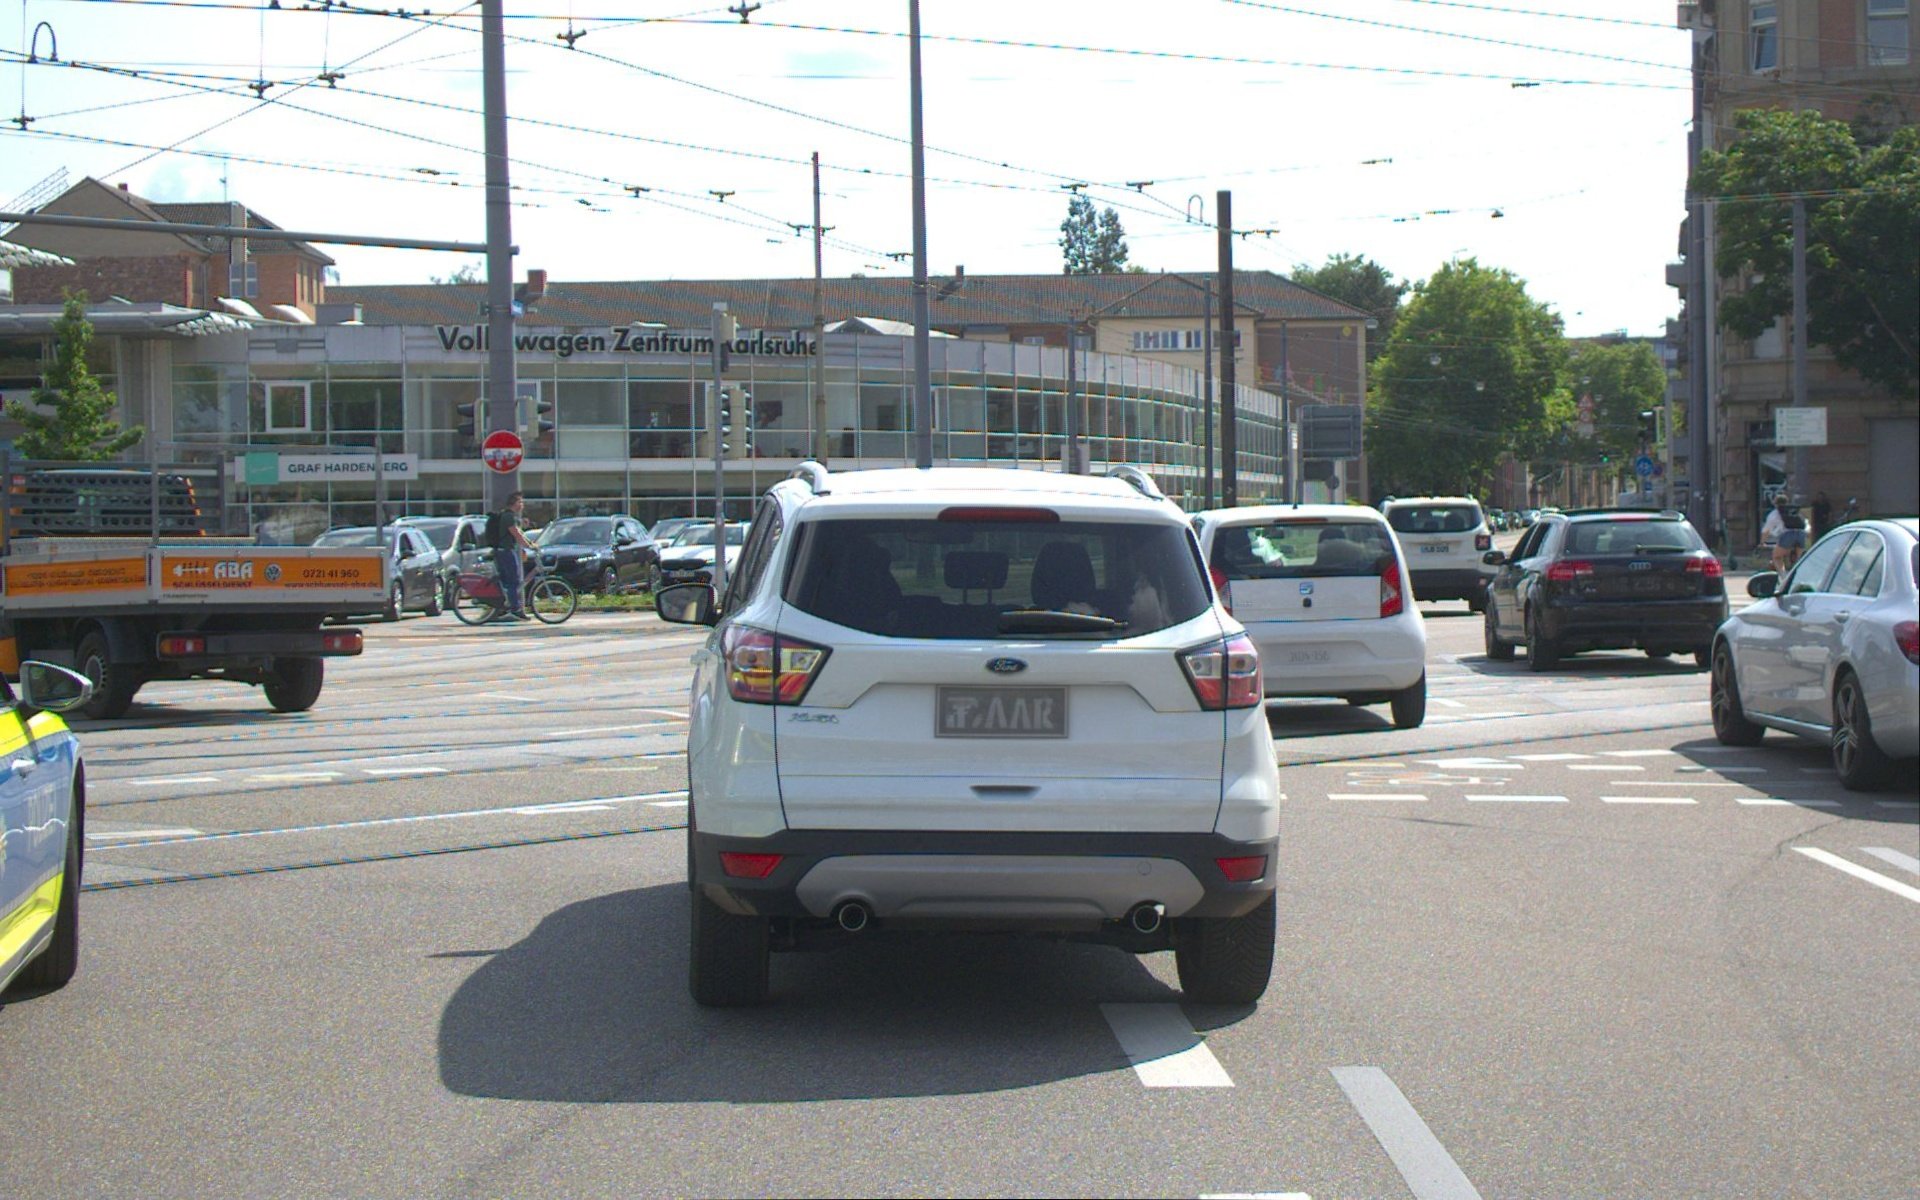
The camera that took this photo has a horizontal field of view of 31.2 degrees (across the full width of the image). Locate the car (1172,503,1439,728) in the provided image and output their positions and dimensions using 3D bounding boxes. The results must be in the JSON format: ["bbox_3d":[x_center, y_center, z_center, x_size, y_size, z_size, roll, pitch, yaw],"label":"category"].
[{"bbox_3d":[2.346,0.044,24.126,1.649,1.417,4.000,-1,2,3],"label":"car"}]

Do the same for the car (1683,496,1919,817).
[{"bbox_3d":[5.590,0.205,19.446,1.930,1.450,4.760,-1,3,-1],"label":"car"}]

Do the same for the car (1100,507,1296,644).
[{"bbox_3d":[2.551,-0.286,37.606,1.850,1.414,3.679,0,1,-1],"label":"car"}]

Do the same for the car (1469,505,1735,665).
[{"bbox_3d":[5.848,-0.179,31.748,1.699,1.367,4.133,-1,1,0],"label":"car"}]

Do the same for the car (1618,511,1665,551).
[{"bbox_3d":[28.964,-2.914,145.973,1.837,1.646,3.998,0,1,13],"label":"car"}]

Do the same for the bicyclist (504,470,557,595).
[{"bbox_3d":[-5.993,-0.945,48.029,0.660,1.732,0.640,0,2,0],"label":"bicyclist"}]

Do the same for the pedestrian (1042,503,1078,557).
[{"bbox_3d":[3.275,-2.284,112.507,0.876,1.731,0.875,1,1,29],"label":"pedestrian"}]

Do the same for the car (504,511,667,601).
[{"bbox_3d":[-6.483,-0.793,59.912,1.690,1.456,3.967,-2,1,11],"label":"car"}]

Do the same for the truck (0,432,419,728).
[{"bbox_3d":[-6.892,-0.192,27.903,2.339,2.148,5.850,-2,1,-38],"label":"truck"}]

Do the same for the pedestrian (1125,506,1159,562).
[{"bbox_3d":[6.284,-2.284,118.815,0.876,1.915,0.875,1,0,26],"label":"pedestrian"}]

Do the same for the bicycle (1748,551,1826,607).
[{"bbox_3d":[11.824,-0.306,49.192,0.584,0.773,1.621,-1,1,-6],"label":"bicycle"}]

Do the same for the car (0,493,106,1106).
[{"bbox_3d":[-3.454,0.497,9.139,1.879,1.563,4.616,0,1,-9],"label":"car"}]

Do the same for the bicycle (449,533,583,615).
[{"bbox_3d":[-6.194,-0.370,48.027,1.778,1.121,0.640,0,2,0],"label":"bicycle"}]

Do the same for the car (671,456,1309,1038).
[{"bbox_3d":[-0.074,0.363,11.832,1.827,1.658,3.956,0,2,-5],"label":"car"}]

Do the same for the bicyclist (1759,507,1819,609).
[{"bbox_3d":[11.848,-0.607,49.153,0.608,1.446,0.774,-1,1,-6],"label":"bicyclist"}]

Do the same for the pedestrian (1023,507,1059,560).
[{"bbox_3d":[2.668,-2.196,113.354,0.876,1.731,0.875,1,1,29],"label":"pedestrian"}]

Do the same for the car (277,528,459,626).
[{"bbox_3d":[-9.006,-0.378,52.575,1.738,1.368,3.641,-2,1,7],"label":"car"}]

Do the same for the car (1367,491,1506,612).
[{"bbox_3d":[6.715,-0.685,48.771,1.837,1.646,3.999,0,1,6],"label":"car"}]

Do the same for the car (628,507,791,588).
[{"bbox_3d":[-4.805,-1.038,66.592,1.901,1.456,3.966,-1,1,15],"label":"car"}]

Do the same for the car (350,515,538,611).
[{"bbox_3d":[-8.996,-0.673,60.256,1.739,1.568,3.997,-1,1,16],"label":"car"}]
